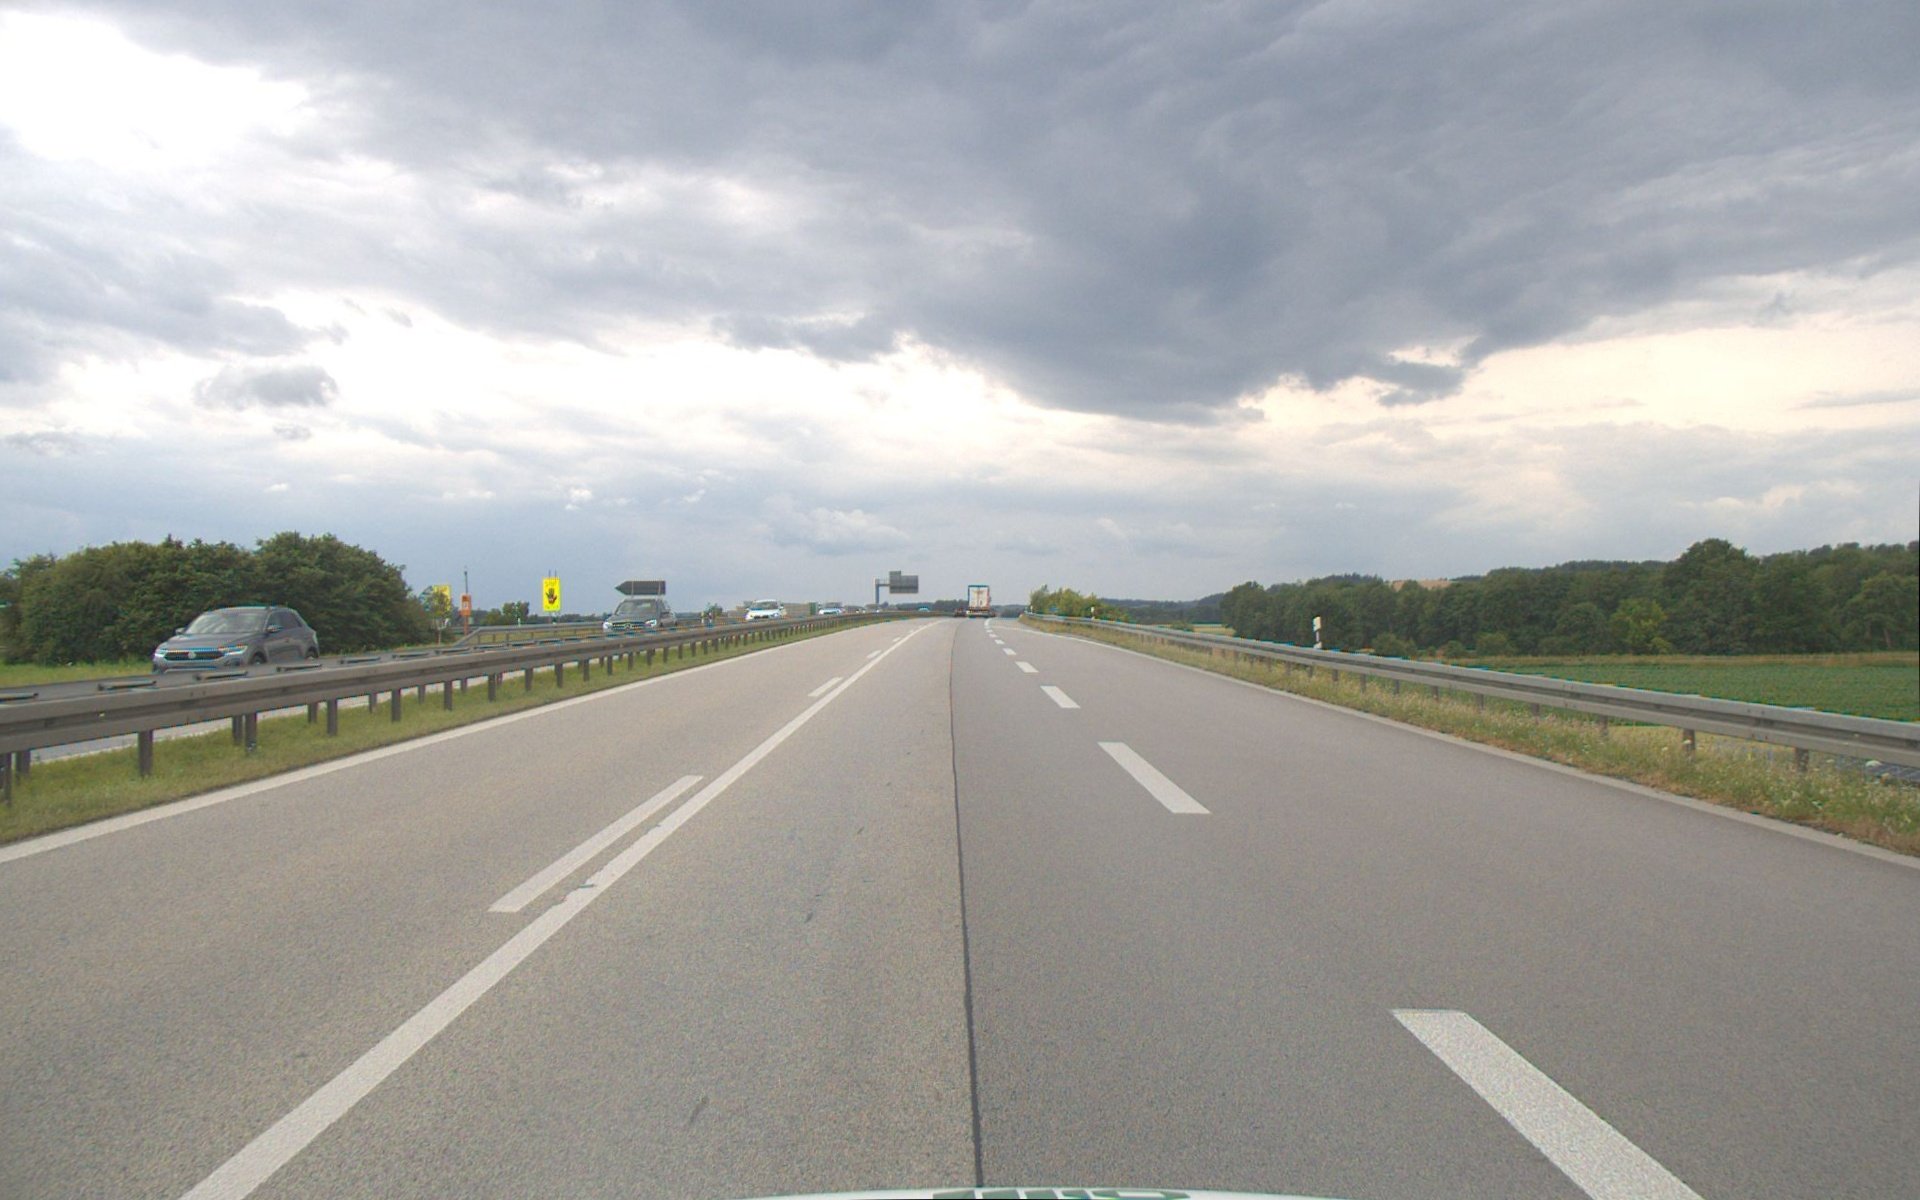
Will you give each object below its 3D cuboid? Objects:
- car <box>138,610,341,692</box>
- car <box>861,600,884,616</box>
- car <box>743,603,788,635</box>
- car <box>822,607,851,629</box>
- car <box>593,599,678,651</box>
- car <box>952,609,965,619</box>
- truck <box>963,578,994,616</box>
[{"bbox_3d":[-13.616,0.913,31.608,1.788,1.369,4.783,-1,0,0],"label":"car"},{"bbox_3d":[-9.078,0.813,172.485,2.092,1.616,4.999,-1,0,0],"label":"car"},{"bbox_3d":[-10.244,0.971,87.469,1.816,1.616,4.816,-1,0,0],"label":"car"},{"bbox_3d":[-9.563,1.348,128.075,1.853,1.616,4.762,-1,0,0],"label":"car"},{"bbox_3d":[-10.639,0.778,54.470,1.853,1.616,4.762,-1,0,0],"label":"car"},{"bbox_3d":[-0.190,2.077,251.702,1.953,1.445,3.999,1,0,0],"label":"car"},{"bbox_3d":[2.490,-0.257,216.469,3.596,4.490,16.343,0,-1,2],"label":"truck"}]
